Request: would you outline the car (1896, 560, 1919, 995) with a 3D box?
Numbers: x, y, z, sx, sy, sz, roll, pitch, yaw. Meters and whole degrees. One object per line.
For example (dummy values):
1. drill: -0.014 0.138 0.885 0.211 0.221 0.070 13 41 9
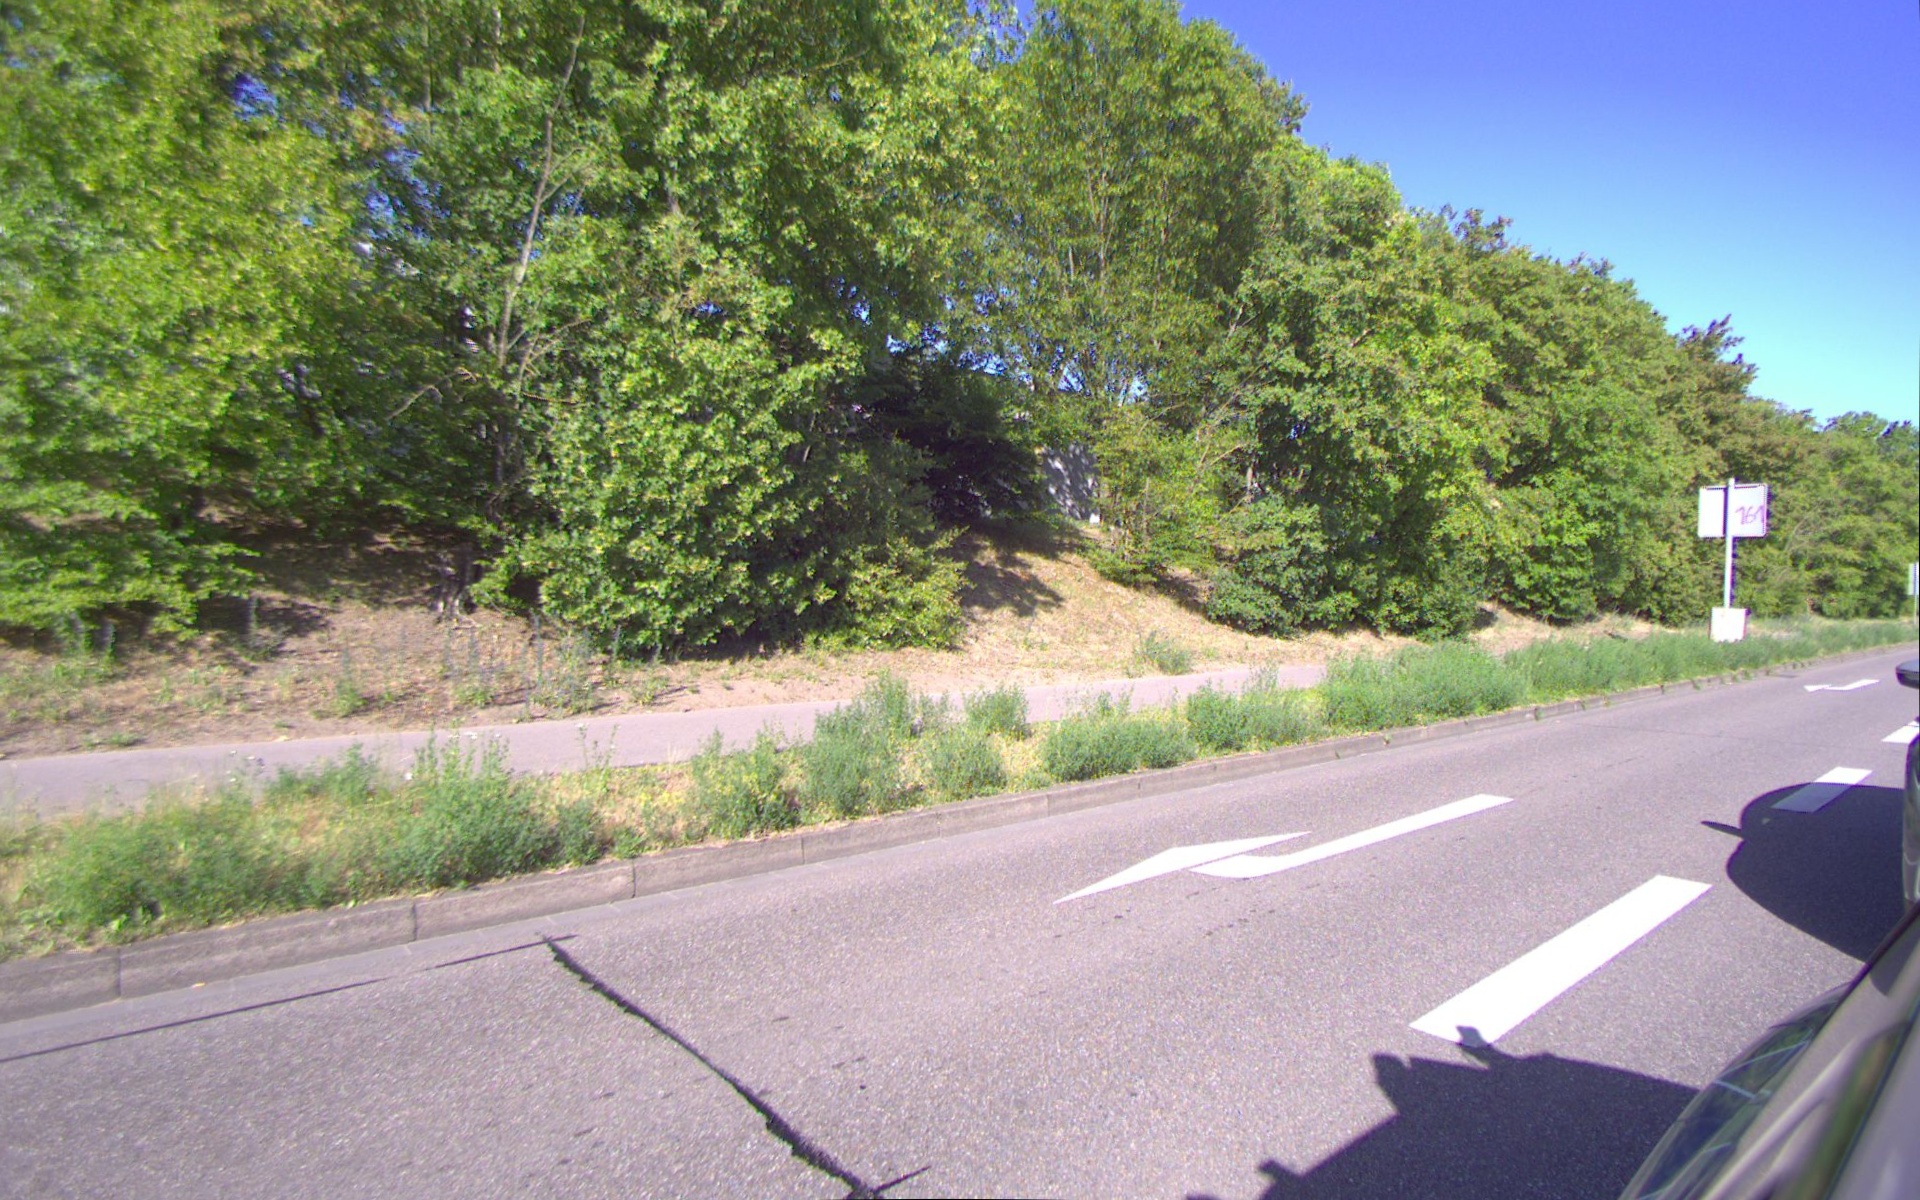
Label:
1. car: 5.716 0.656 4.524 4.327 1.603 1.860 0 0 -42
